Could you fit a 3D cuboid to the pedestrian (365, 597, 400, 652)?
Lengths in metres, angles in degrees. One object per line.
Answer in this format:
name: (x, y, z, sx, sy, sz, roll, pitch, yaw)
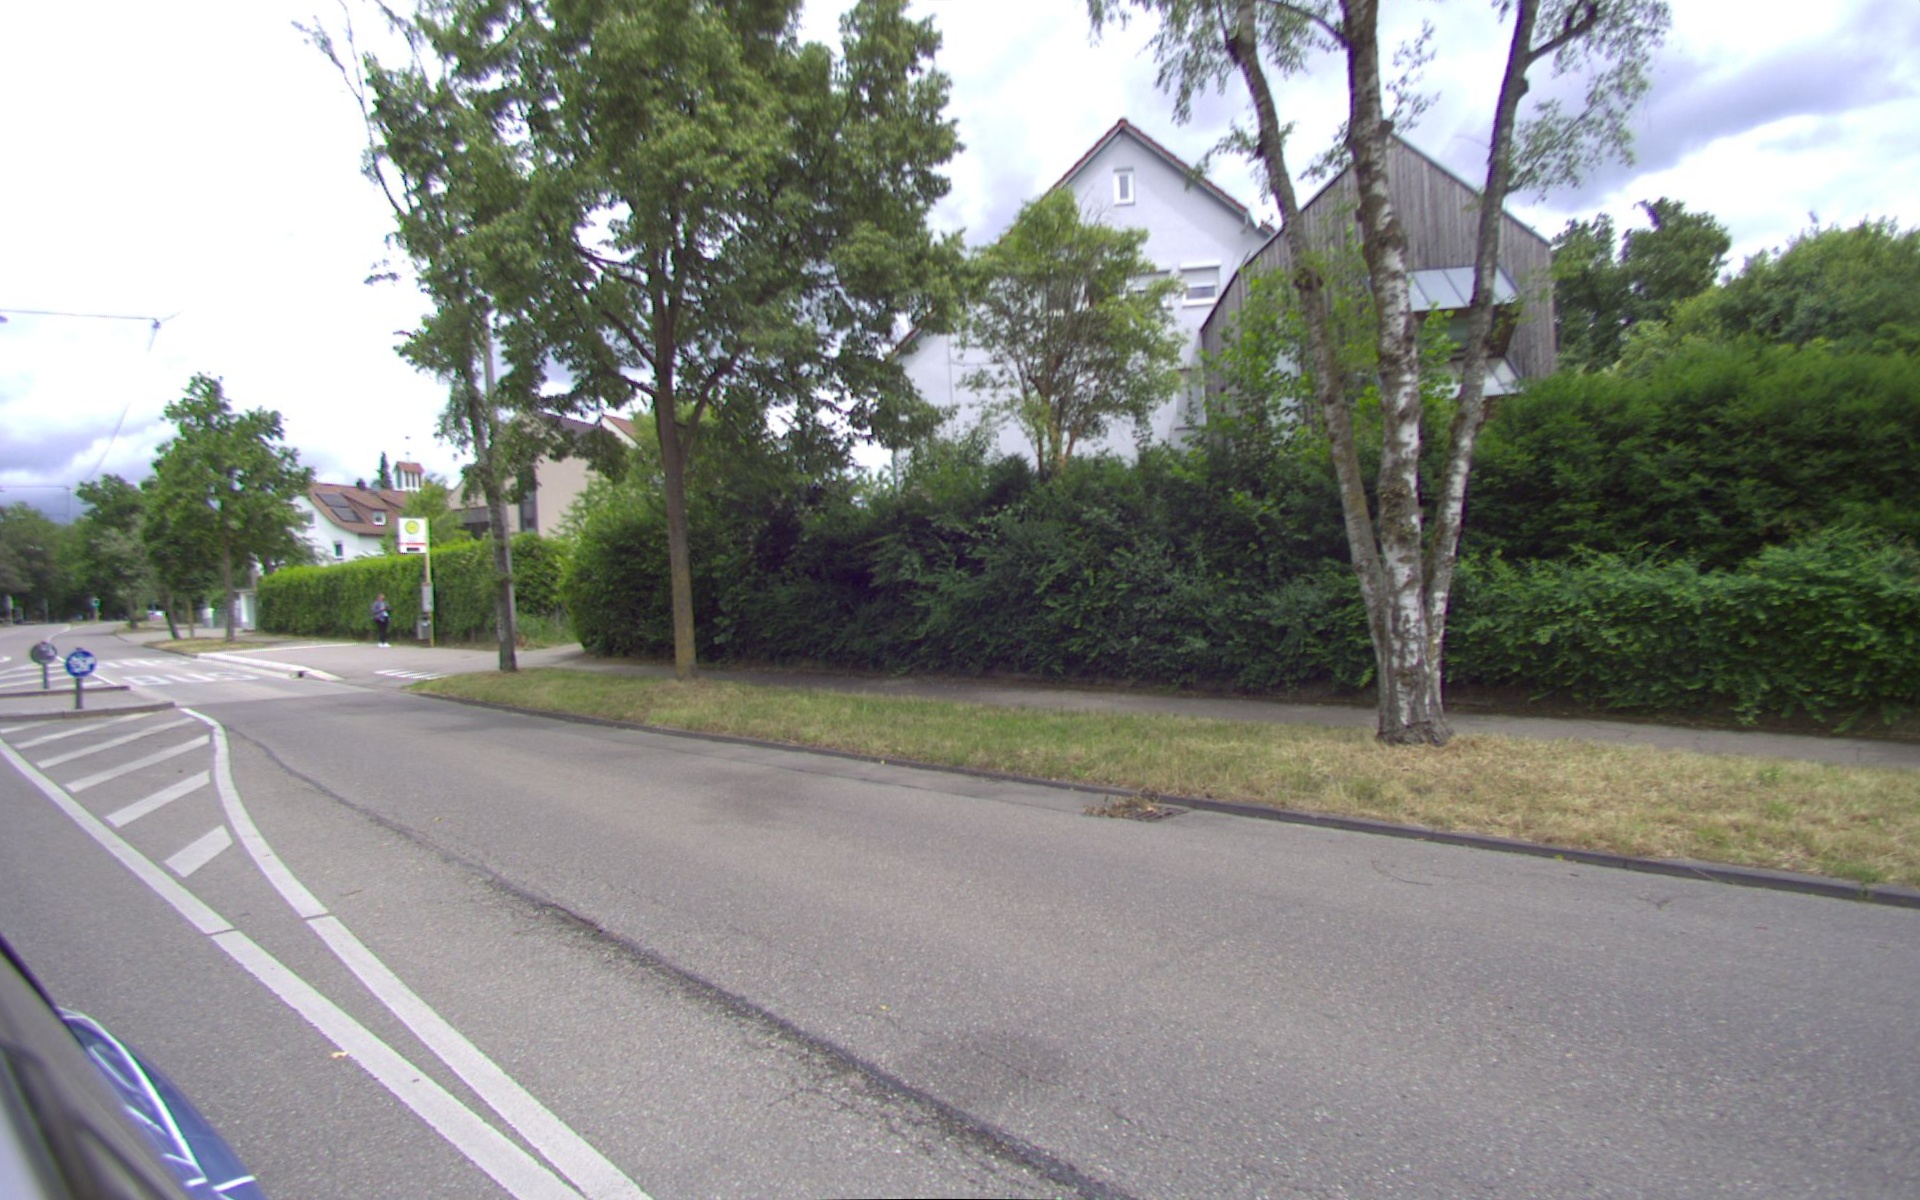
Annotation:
pedestrian: (-18.461, 0.780, 32.341, 0.777, 1.723, 0.685, -1, 1, 39)
